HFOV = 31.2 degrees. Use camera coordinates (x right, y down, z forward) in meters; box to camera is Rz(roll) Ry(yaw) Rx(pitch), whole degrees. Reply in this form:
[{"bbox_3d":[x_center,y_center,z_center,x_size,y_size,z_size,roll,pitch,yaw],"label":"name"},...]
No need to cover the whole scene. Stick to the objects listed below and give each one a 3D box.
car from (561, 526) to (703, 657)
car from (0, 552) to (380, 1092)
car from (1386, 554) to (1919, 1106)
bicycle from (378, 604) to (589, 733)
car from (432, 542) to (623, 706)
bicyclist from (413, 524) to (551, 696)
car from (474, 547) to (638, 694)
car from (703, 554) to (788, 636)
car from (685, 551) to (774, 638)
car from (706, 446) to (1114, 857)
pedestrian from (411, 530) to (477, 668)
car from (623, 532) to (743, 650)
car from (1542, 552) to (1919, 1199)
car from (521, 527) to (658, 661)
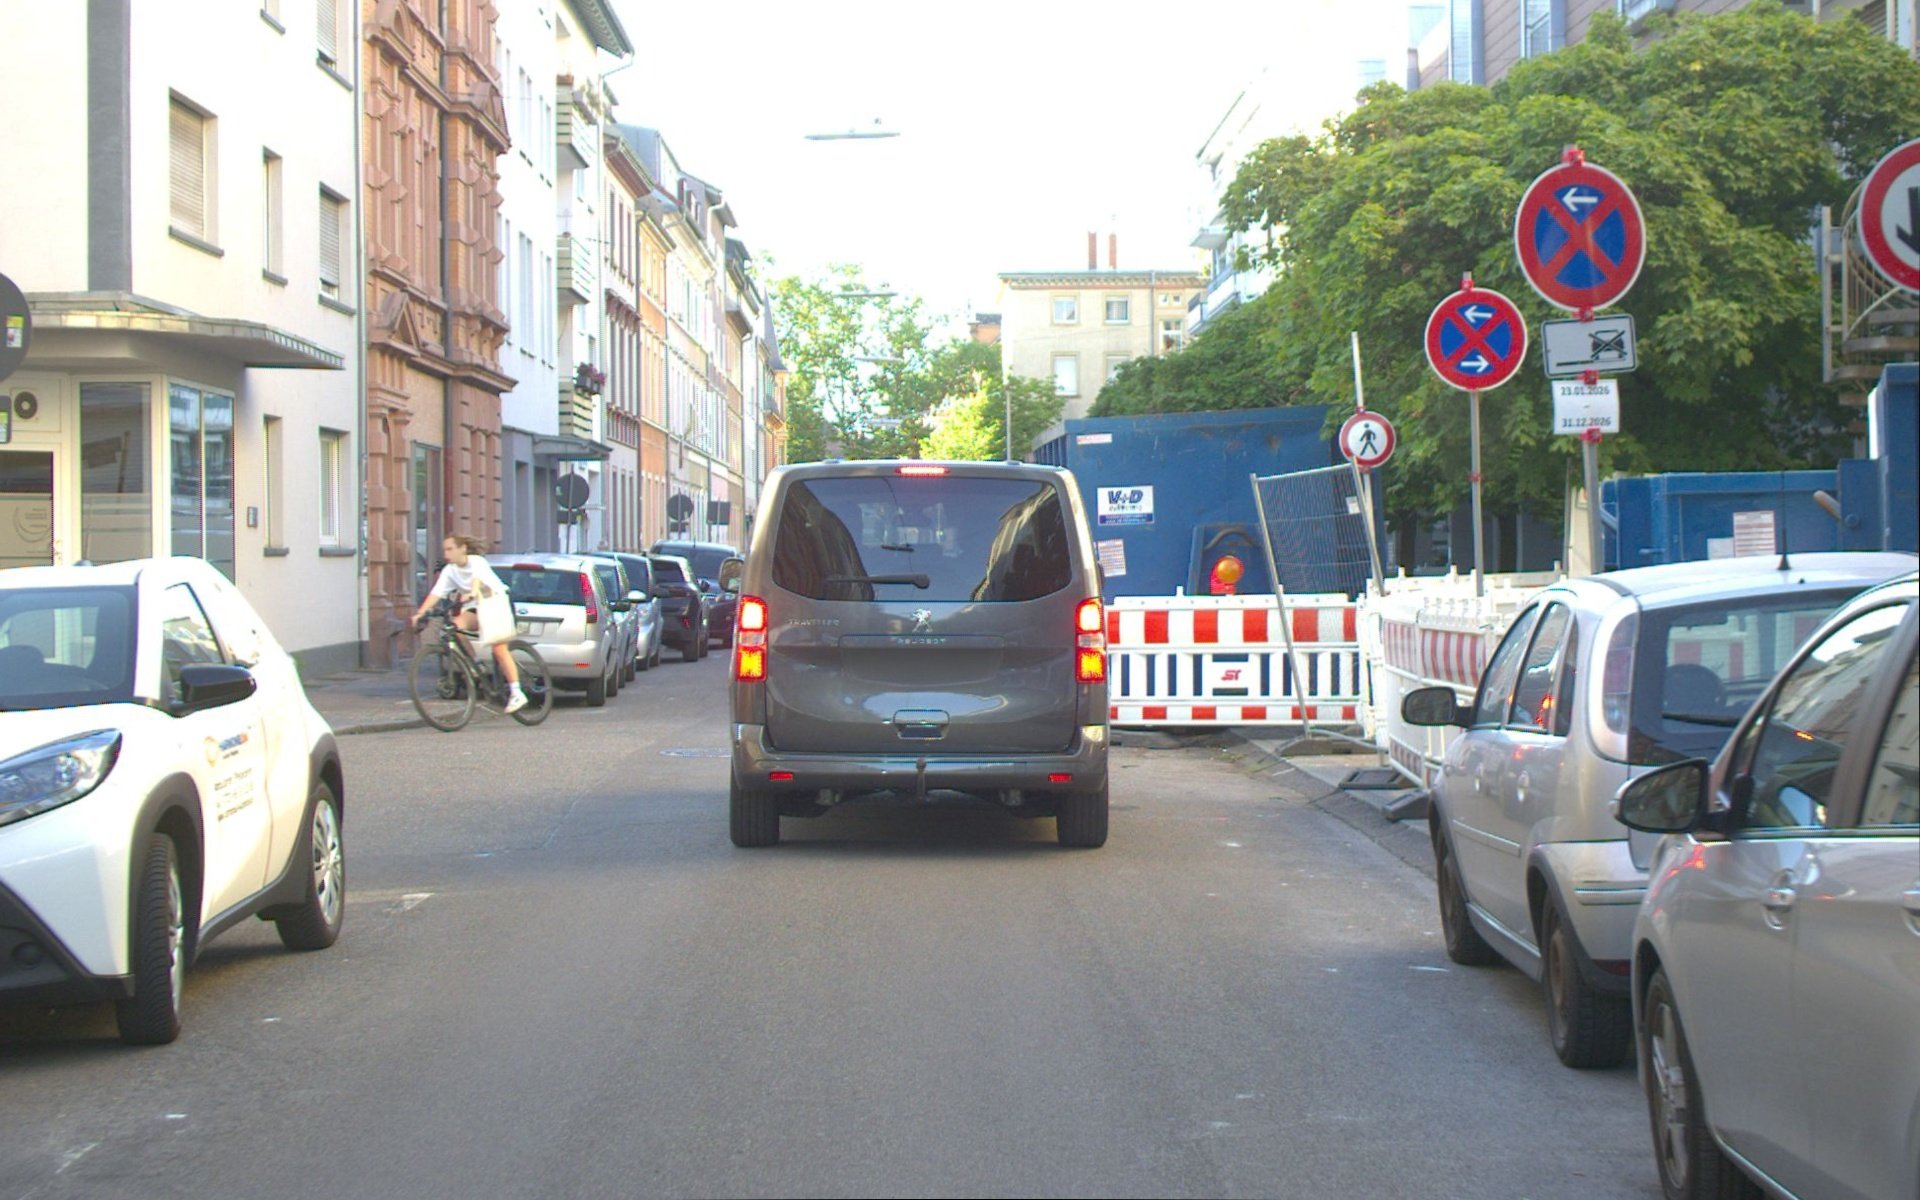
[{"bbox_3d":[-4.834,-0.118,51.011,1.891,1.714,3.754,5,0,-4],"label":"car"},{"bbox_3d":[-3.308,0.627,11.858,1.920,1.502,4.267,-2,1,-1],"label":"car"},{"bbox_3d":[2.420,0.605,11.213,1.676,1.471,3.729,-2,0,2],"label":"car"},{"bbox_3d":[-4.009,0.565,29.112,0.734,1.024,2.112,2,0,24],"label":"bicycle"},{"bbox_3d":[-4.349,0.230,34.945,1.656,1.455,3.418,5,0,-4],"label":"car"},{"bbox_3d":[-4.030,0.082,29.032,0.734,1.407,0.939,2,0,24],"label":"bicyclist"},{"bbox_3d":[-4.692,0.234,40.268,1.656,1.520,3.418,5,0,-4],"label":"car"},{"bbox_3d":[-5.354,-0.117,85.483,1.891,1.840,4.349,5,0,-4],"label":"car"},{"bbox_3d":[-5.428,-0.125,80.558,1.891,1.840,4.349,5,0,-4],"label":"car"},{"bbox_3d":[-0.214,0.242,18.088,1.865,1.880,4.235,1,0,1],"label":"car"},{"bbox_3d":[-6.240,-0.014,41.586,0.740,1.659,0.704,0,1,-5],"label":"pedestrian"},{"bbox_3d":[-4.853,-0.148,60.379,1.891,1.840,4.349,5,0,-4],"label":"car"},{"bbox_3d":[2.278,0.660,6.483,1.676,1.520,3.970,-2,0,0],"label":"car"},{"bbox_3d":[-5.073,-0.075,47.372,1.666,1.660,3.092,5,0,-4],"label":"car"}]
